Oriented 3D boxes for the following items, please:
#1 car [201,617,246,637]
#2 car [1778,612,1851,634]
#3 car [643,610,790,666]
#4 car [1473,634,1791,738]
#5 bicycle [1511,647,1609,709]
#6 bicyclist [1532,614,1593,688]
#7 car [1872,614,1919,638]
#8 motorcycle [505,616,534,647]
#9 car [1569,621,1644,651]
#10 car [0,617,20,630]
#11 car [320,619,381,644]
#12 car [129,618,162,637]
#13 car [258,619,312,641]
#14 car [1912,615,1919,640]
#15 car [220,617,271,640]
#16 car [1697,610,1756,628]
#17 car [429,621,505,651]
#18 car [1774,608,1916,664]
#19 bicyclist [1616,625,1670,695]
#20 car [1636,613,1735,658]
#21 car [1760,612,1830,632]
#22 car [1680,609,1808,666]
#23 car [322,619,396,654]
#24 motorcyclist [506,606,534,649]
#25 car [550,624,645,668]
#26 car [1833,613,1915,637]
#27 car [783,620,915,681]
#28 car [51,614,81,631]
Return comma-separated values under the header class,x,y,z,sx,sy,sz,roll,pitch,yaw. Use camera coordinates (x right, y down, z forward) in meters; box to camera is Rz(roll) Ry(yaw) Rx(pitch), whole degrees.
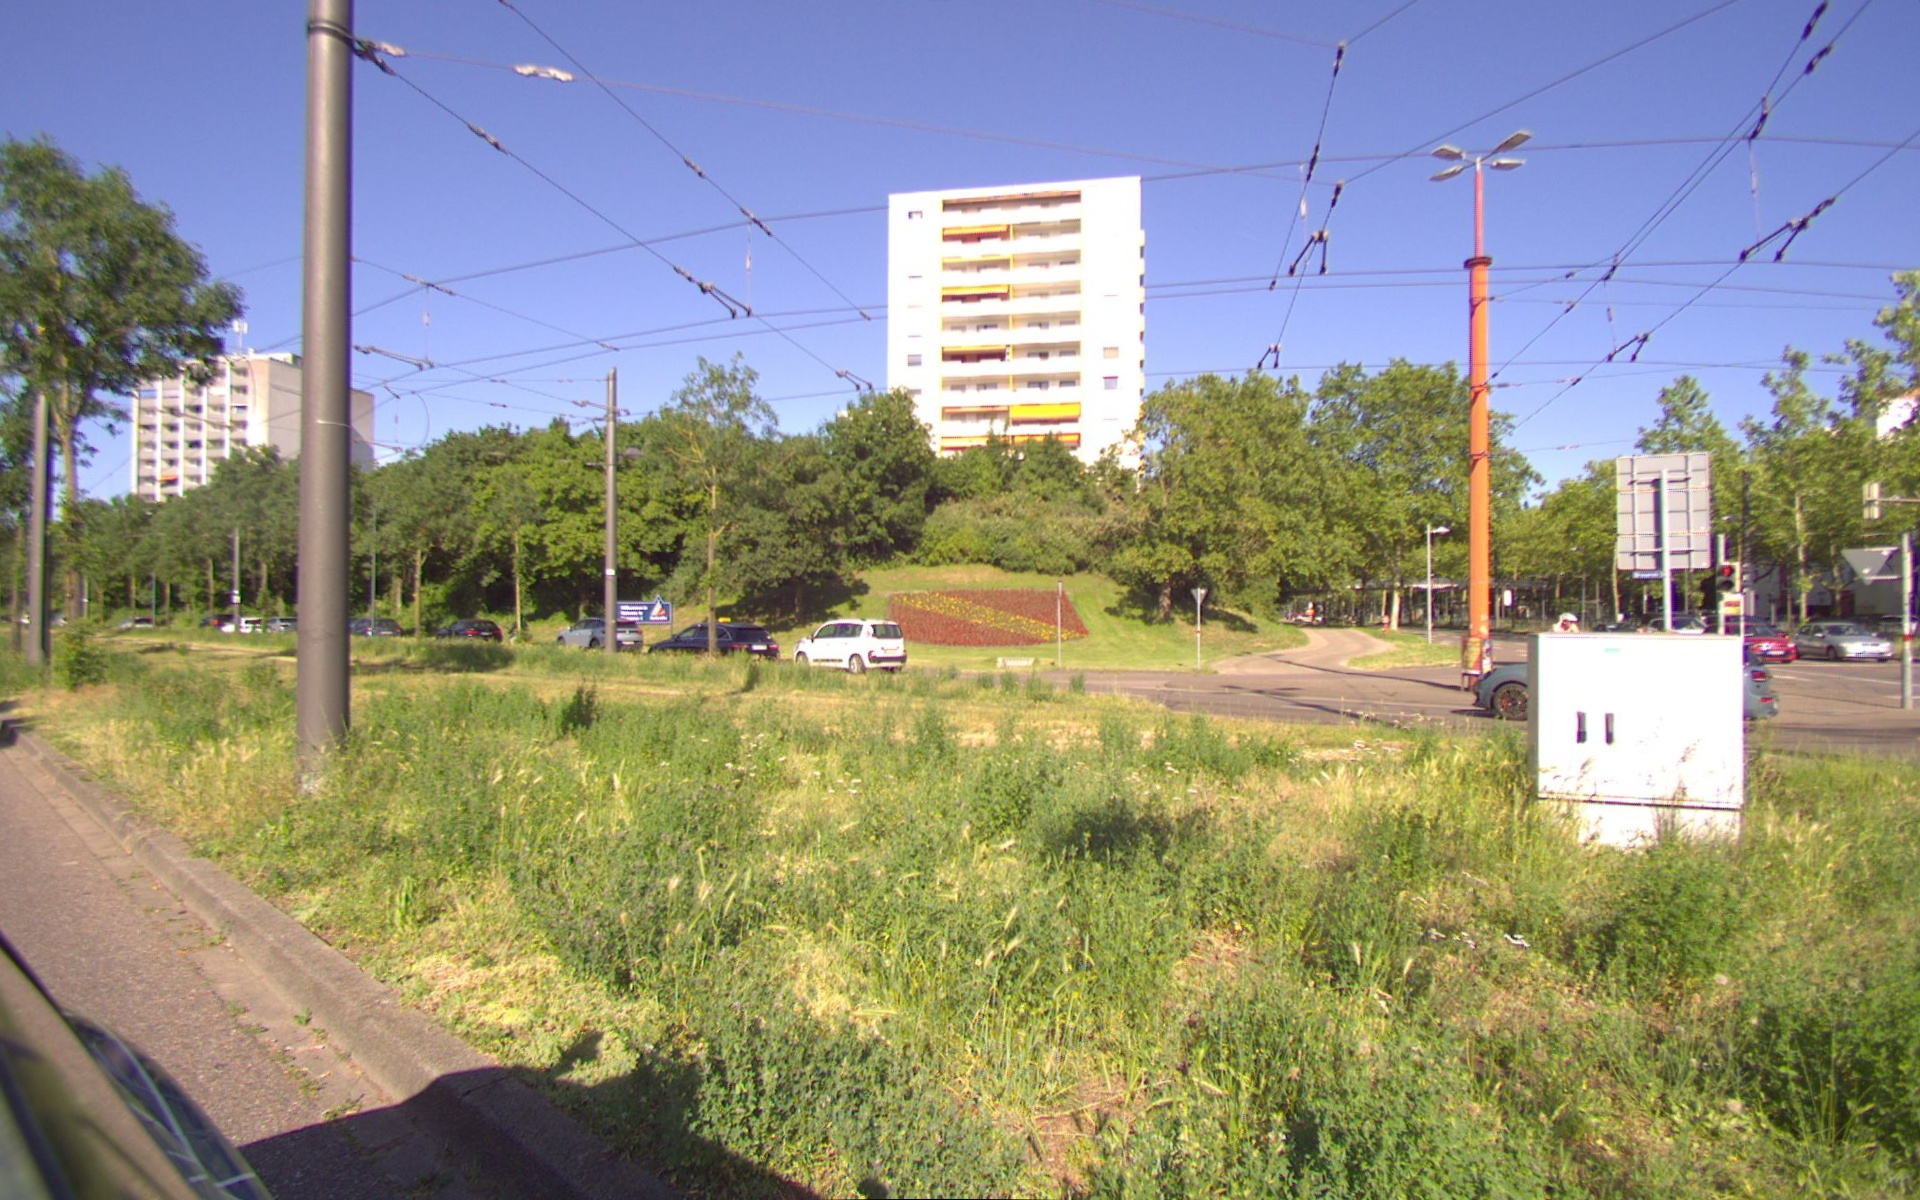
class,x,y,z,sx,sy,sz,roll,pitch,yaw
car,-57.466,2.056,78.966,4.631,1.492,1.972,-1,0,43
car,67.072,1.783,79.508,1.864,1.608,4.010,0,0,-34
car,-7.155,1.058,29.521,4.603,1.496,1.856,-1,0,41
car,10.818,1.301,16.513,4.141,1.398,1.414,-1,0,44
bicycle,12.082,1.542,20.478,0.467,1.089,2.362,-1,0,-3
bicyclist,12.136,1.014,20.396,0.741,1.441,0.757,-1,0,-3
car,64.823,1.770,68.713,1.864,1.608,4.010,0,0,-34
motorcycle,-16.814,1.185,38.598,0.416,1.140,2.098,0,0,-41
car,31.593,1.727,49.574,1.718,1.332,3.985,-1,0,11
car,-108.662,2.672,115.312,4.992,1.420,1.971,-1,0,44
car,-36.302,1.869,60.252,4.400,1.384,1.972,-1,0,43
car,-65.680,2.223,81.565,4.183,1.484,1.571,-1,-2,44
car,-46.607,2.084,69.860,4.693,1.443,1.972,-1,-2,42
car,64.142,1.765,65.008,1.864,1.608,4.010,0,0,-34
car,-45.080,1.778,63.793,4.642,1.433,1.685,-1,-2,42
car,71.656,1.787,94.702,1.864,1.608,4.010,0,0,-34
car,-23.641,1.698,48.482,4.030,1.352,1.841,-1,-2,42
car,32.135,1.258,36.931,1.979,1.915,4.259,-1,0,11
bicyclist,13.355,1.162,19.807,0.540,1.333,0.700,-1,0,-2
car,30.677,1.484,42.926,1.893,1.763,3.985,-1,0,11
car,68.298,1.781,82.832,1.864,1.608,4.010,0,0,-34
car,28.675,1.324,37.210,1.979,1.915,4.259,-1,0,11
car,-29.038,1.751,48.822,4.465,1.606,1.971,-1,-2,44
motorcyclist,-16.810,1.044,38.669,0.825,1.611,0.641,0,0,-41
car,-14.522,1.795,40.463,4.439,1.613,1.817,-1,-2,44
car,65.534,1.776,72.614,1.864,1.608,4.010,0,0,-34
car,-3.404,1.477,30.612,4.060,1.720,1.781,-1,-2,43
car,-85.505,2.167,96.738,3.757,1.620,1.744,-1,-2,42
